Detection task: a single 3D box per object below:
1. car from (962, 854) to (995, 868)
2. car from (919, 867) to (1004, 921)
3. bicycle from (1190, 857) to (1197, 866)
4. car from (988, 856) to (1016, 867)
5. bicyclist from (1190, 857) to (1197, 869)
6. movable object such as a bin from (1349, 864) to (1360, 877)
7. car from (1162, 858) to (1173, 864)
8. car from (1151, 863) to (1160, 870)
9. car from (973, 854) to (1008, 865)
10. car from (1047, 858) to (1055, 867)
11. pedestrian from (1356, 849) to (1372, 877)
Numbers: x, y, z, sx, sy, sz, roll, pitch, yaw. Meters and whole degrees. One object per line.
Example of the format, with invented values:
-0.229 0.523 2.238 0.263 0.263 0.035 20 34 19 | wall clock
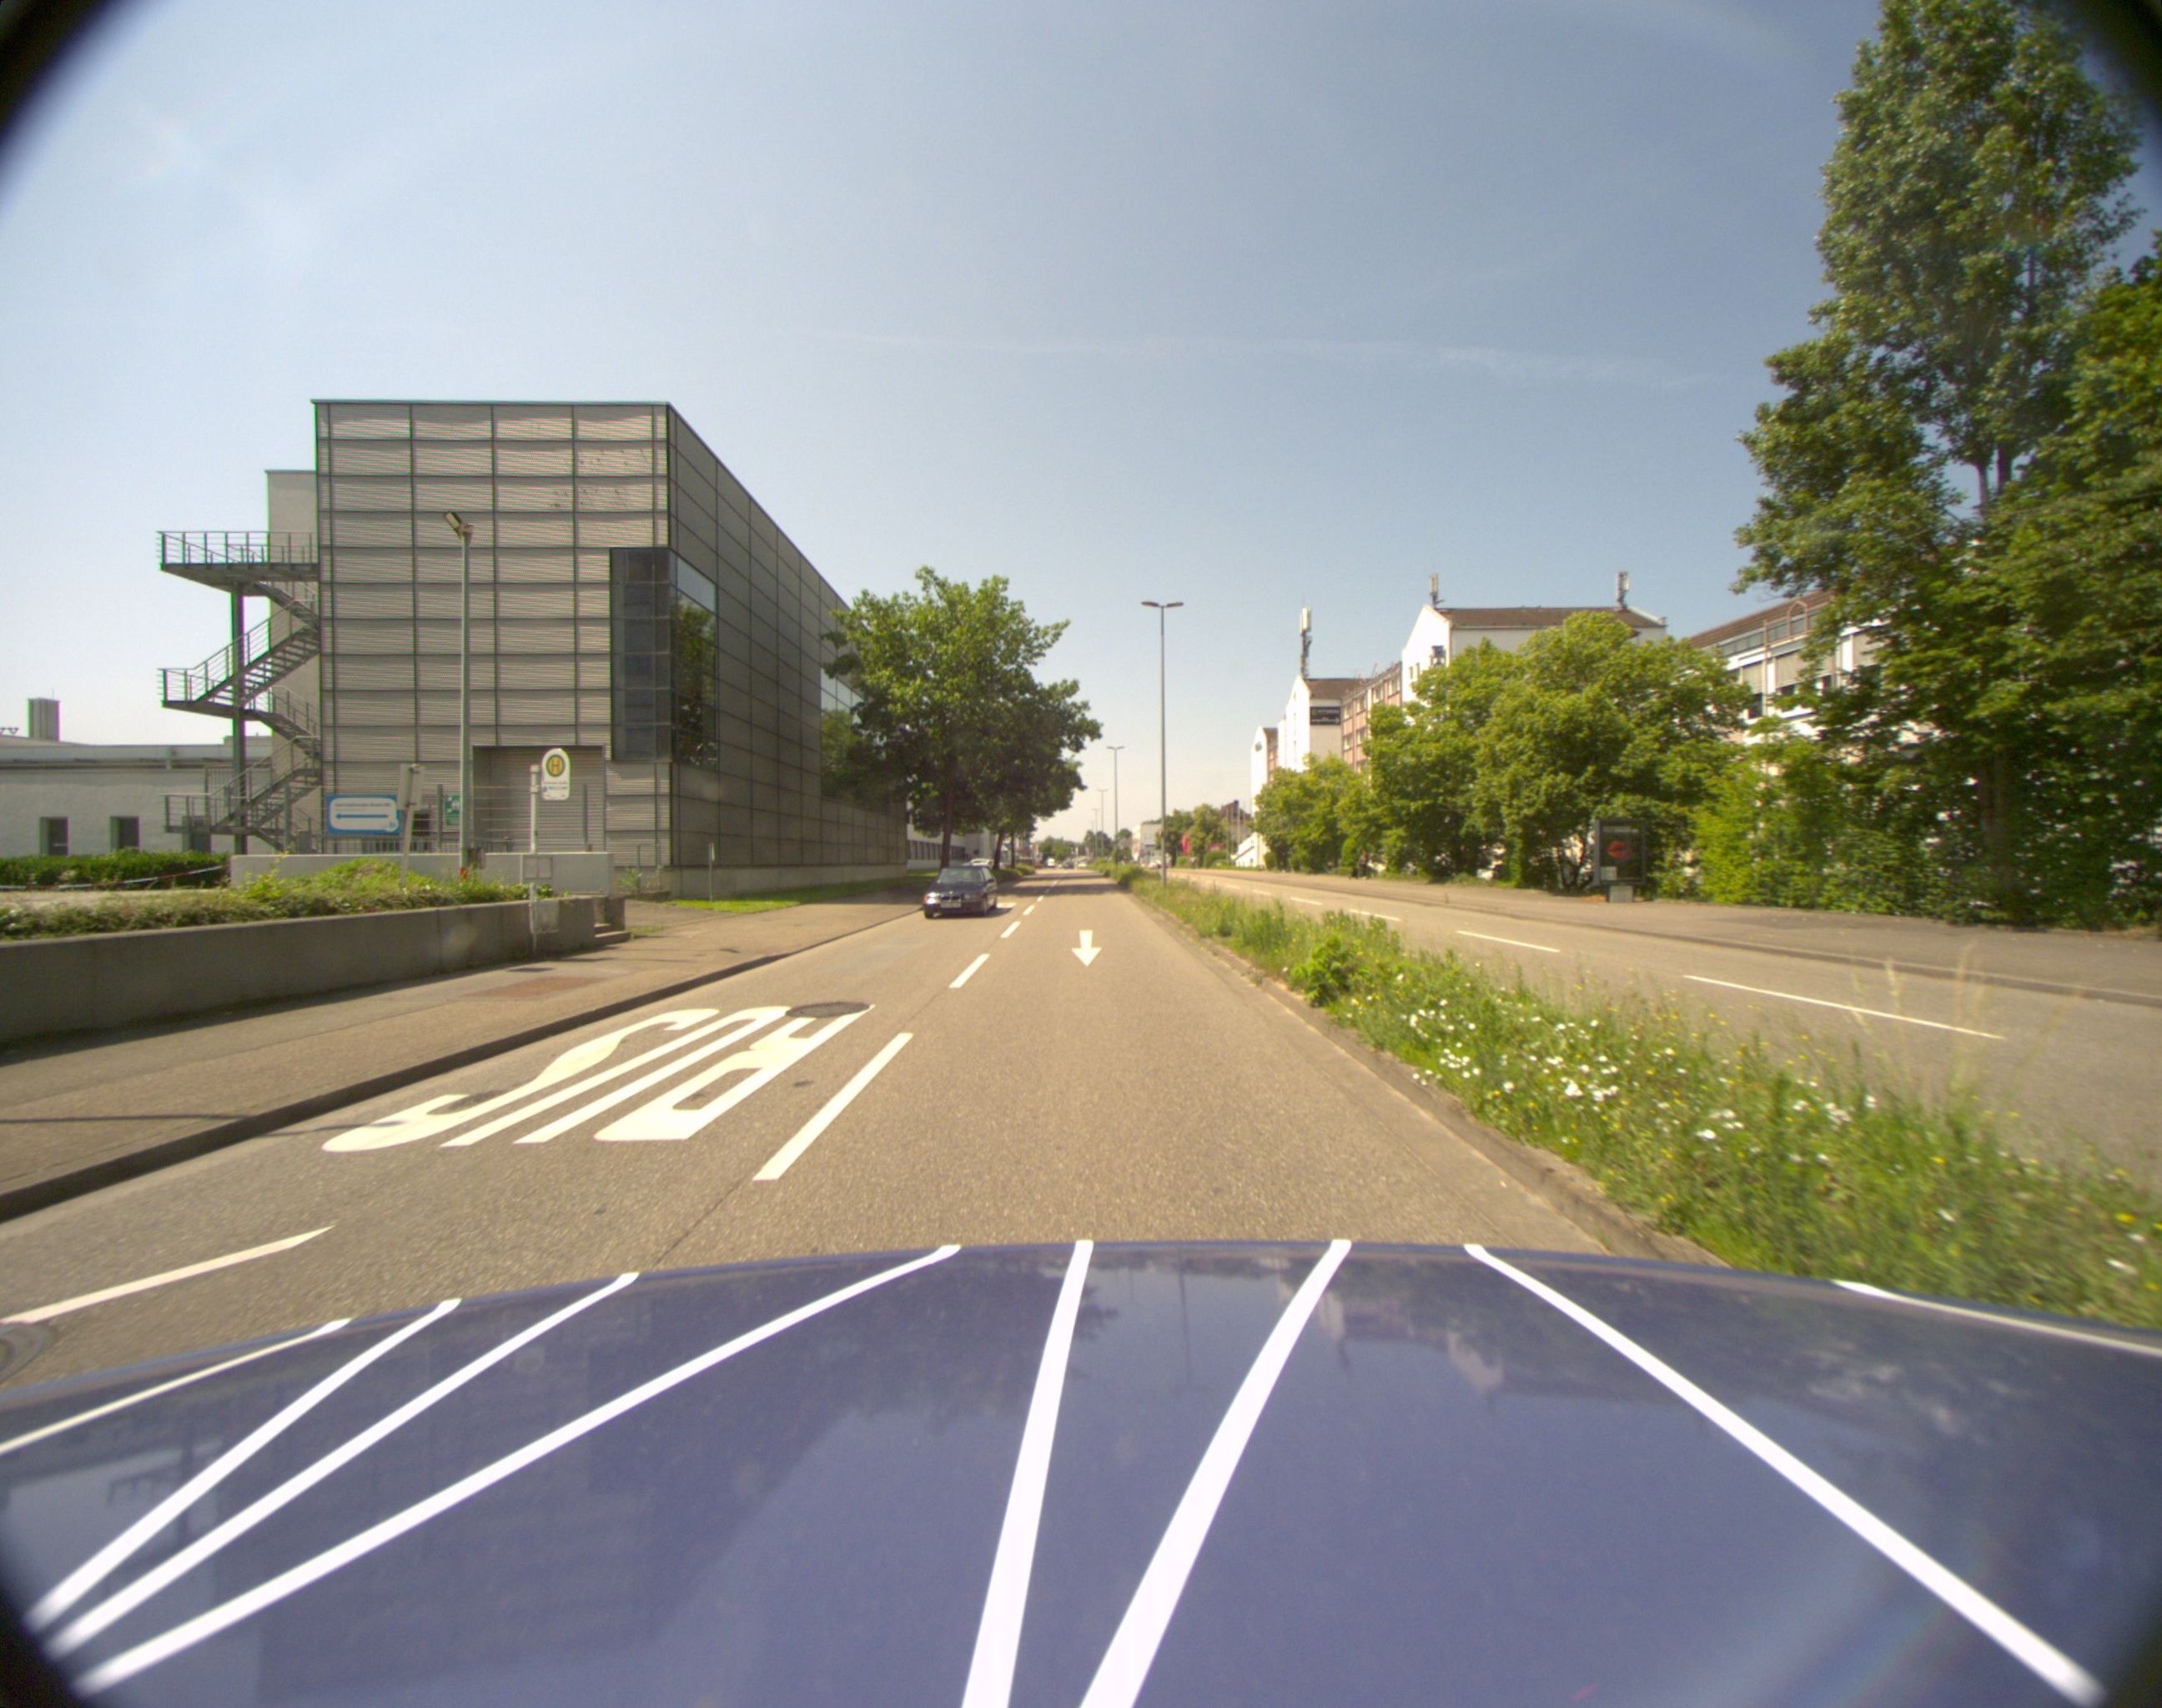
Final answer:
-12.613 0.846 93.500 3.823 1.582 1.732 2 0 -4 | car
-3.289 1.077 21.554 1.631 1.331 3.758 -2 -1 3 | car
14.298 0.952 96.594 0.552 1.067 2.062 -1 0 -3 | bicycle
-12.269 1.168 118.182 4.271 1.679 1.999 0 0 -4 | car
14.293 1.183 96.713 0.719 1.507 1.026 0 0 -4 | bicyclist
15.403 0.942 42.812 0.429 0.701 0.652 0 0 8 | movable object such as a bin
18.880 1.589 165.484 1.737 1.343 3.999 0 -1 -2 | car
16.272 2.751 166.264 1.780 1.402 4.761 0 -1 5 | car
-12.113 0.716 101.754 4.627 1.382 1.999 0 0 -5 | car
-9.520 2.810 244.006 2.183 2.757 7.278 2 -1 -1 | car
15.800 0.513 42.417 0.634 1.536 0.727 0 0 0 | pedestrian
